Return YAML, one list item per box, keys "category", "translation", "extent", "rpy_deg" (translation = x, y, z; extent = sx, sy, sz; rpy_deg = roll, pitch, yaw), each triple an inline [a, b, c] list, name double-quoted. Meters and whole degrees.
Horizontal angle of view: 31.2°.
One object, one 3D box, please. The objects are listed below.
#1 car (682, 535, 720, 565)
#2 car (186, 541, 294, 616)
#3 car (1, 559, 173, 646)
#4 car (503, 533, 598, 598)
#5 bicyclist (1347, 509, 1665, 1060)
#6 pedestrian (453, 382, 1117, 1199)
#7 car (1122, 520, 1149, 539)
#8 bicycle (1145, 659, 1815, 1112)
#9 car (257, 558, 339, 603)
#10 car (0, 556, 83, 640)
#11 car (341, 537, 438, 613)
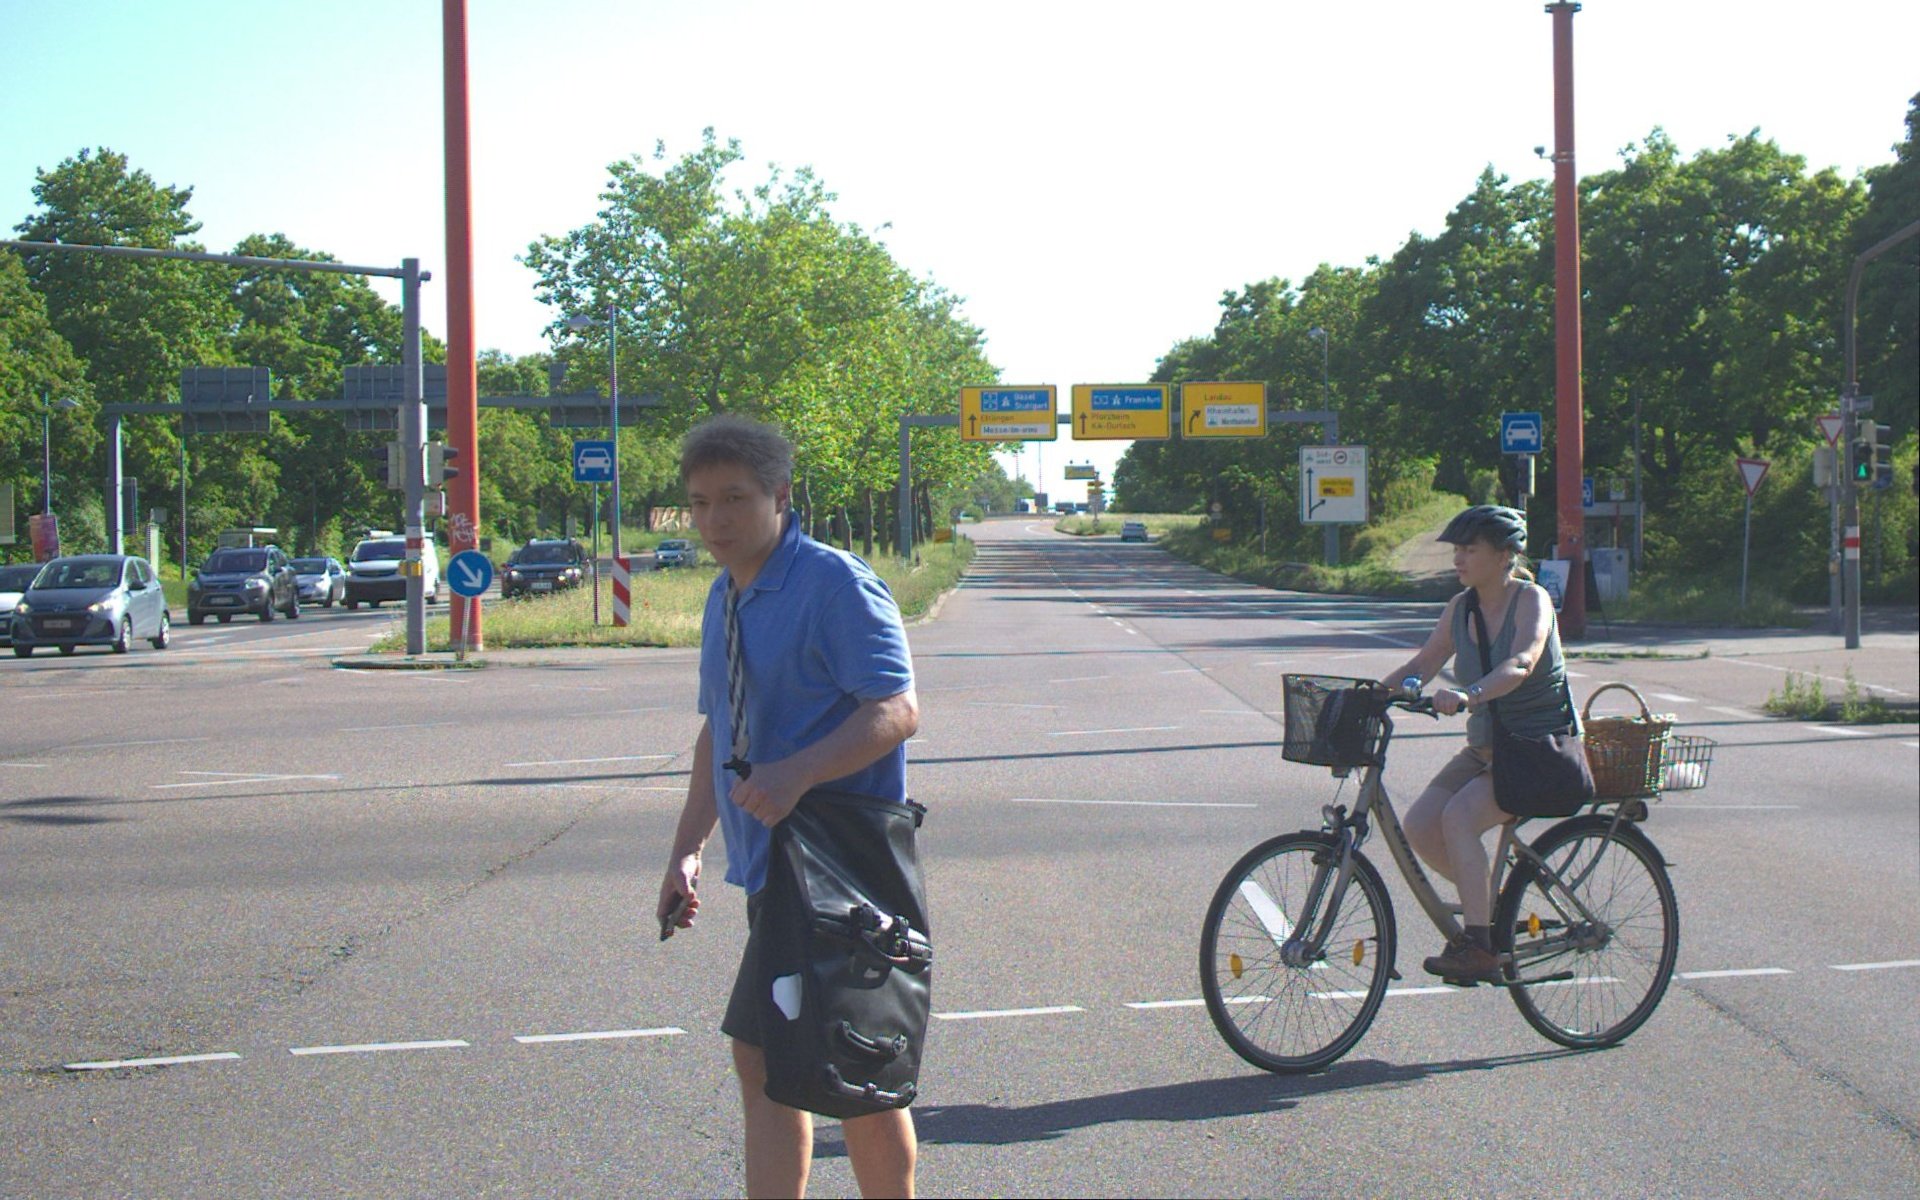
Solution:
- category: "car"
  translation: [-14.194, -2.755, 188.663]
  extent: [1.819, 1.623, 4.000]
  rpy_deg: [-1, 1, -1]
- category: "car"
  translation: [-16.101, -0.500, 77.003]
  extent: [1.739, 1.606, 3.613]
  rpy_deg: [-1, 1, -1]
- category: "car"
  translation: [-13.145, 0.019, 51.933]
  extent: [1.739, 1.239, 3.613]
  rpy_deg: [-1, 1, -1]
- category: "car"
  translation: [-9.794, -0.851, 82.484]
  extent: [1.819, 1.503, 4.000]
  rpy_deg: [-1, 1, -1]
- category: "bicyclist"
  translation: [1.633, 0.522, 10.316]
  extent: [0.660, 1.579, 0.673]
  rpy_deg: [-1, 1, -28]
- category: "pedestrian"
  translation: [-0.354, 0.509, 6.515]
  extent: [0.984, 1.787, 0.955]
  rpy_deg: [-1, 1, -22]
- category: "car"
  translation: [13.306, -5.348, 260.844]
  extent: [1.794, 1.405, 4.000]
  rpy_deg: [1, 1, -1]
- category: "bicycle"
  translation: [1.571, 0.803, 10.280]
  extent: [1.942, 1.191, 0.692]
  rpy_deg: [-1, 1, -28]
- category: "car"
  translation: [-19.007, -0.563, 98.839]
  extent: [1.739, 1.239, 3.613]
  rpy_deg: [-1, 1, -1]
- category: "car"
  translation: [-16.638, -0.048, 60.158]
  extent: [1.739, 1.406, 3.613]
  rpy_deg: [-1, 1, -1]
- category: "car"
  translation: [-15.640, -0.702, 94.436]
  extent: [1.893, 2.019, 5.224]
  rpy_deg: [-1, 1, -1]
